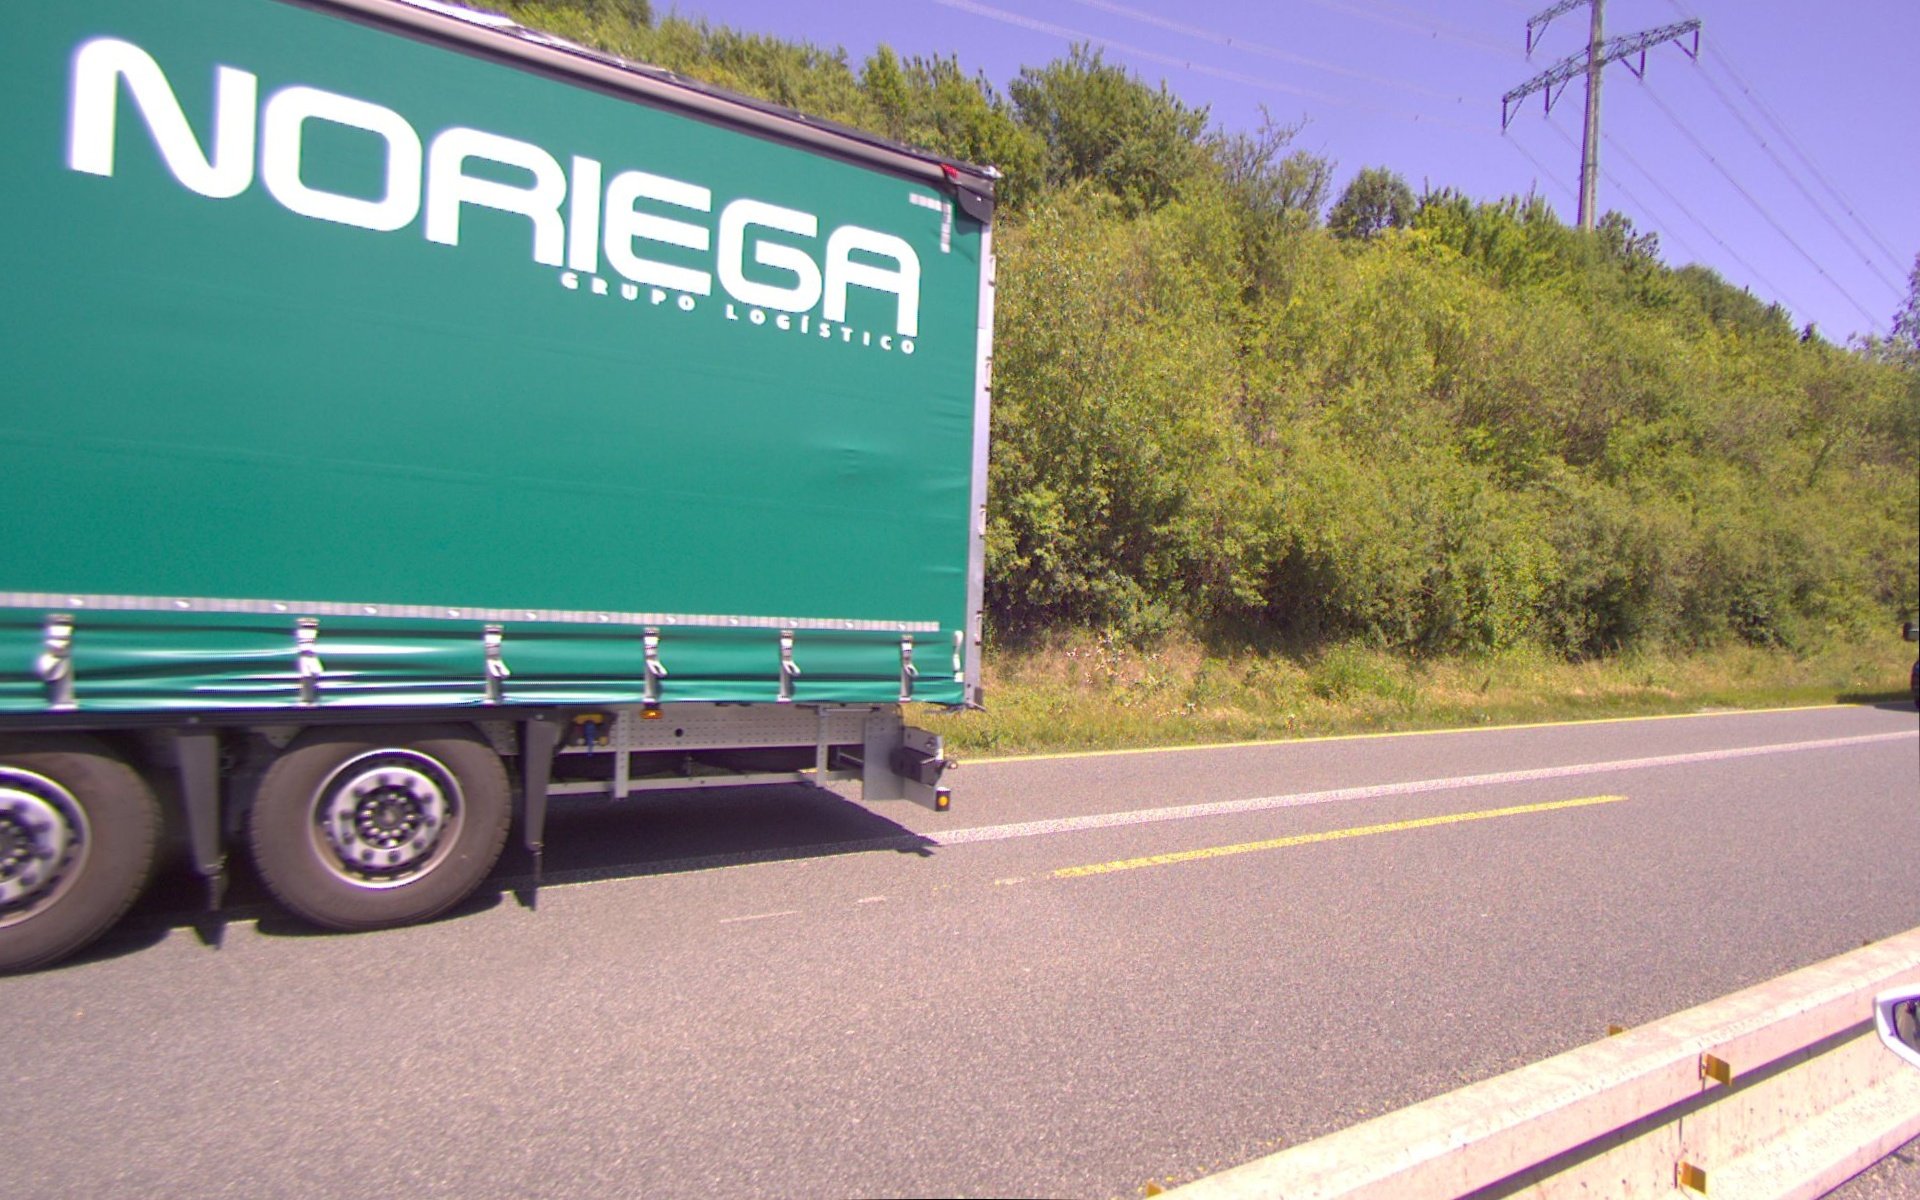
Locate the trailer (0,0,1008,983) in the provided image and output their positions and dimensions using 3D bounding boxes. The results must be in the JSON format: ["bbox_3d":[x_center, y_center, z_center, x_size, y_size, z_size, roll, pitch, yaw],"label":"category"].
[{"bbox_3d":[-6.115,-0.769,3.724,13.089,4.180,2.877,2,0,-30],"label":"trailer"}]

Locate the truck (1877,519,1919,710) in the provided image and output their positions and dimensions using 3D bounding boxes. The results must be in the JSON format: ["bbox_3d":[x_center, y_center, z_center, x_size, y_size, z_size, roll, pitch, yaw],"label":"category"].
[{"bbox_3d":[20.557,0.327,19.099,7.409,3.374,2.395,1,0,-29],"label":"truck"}]
